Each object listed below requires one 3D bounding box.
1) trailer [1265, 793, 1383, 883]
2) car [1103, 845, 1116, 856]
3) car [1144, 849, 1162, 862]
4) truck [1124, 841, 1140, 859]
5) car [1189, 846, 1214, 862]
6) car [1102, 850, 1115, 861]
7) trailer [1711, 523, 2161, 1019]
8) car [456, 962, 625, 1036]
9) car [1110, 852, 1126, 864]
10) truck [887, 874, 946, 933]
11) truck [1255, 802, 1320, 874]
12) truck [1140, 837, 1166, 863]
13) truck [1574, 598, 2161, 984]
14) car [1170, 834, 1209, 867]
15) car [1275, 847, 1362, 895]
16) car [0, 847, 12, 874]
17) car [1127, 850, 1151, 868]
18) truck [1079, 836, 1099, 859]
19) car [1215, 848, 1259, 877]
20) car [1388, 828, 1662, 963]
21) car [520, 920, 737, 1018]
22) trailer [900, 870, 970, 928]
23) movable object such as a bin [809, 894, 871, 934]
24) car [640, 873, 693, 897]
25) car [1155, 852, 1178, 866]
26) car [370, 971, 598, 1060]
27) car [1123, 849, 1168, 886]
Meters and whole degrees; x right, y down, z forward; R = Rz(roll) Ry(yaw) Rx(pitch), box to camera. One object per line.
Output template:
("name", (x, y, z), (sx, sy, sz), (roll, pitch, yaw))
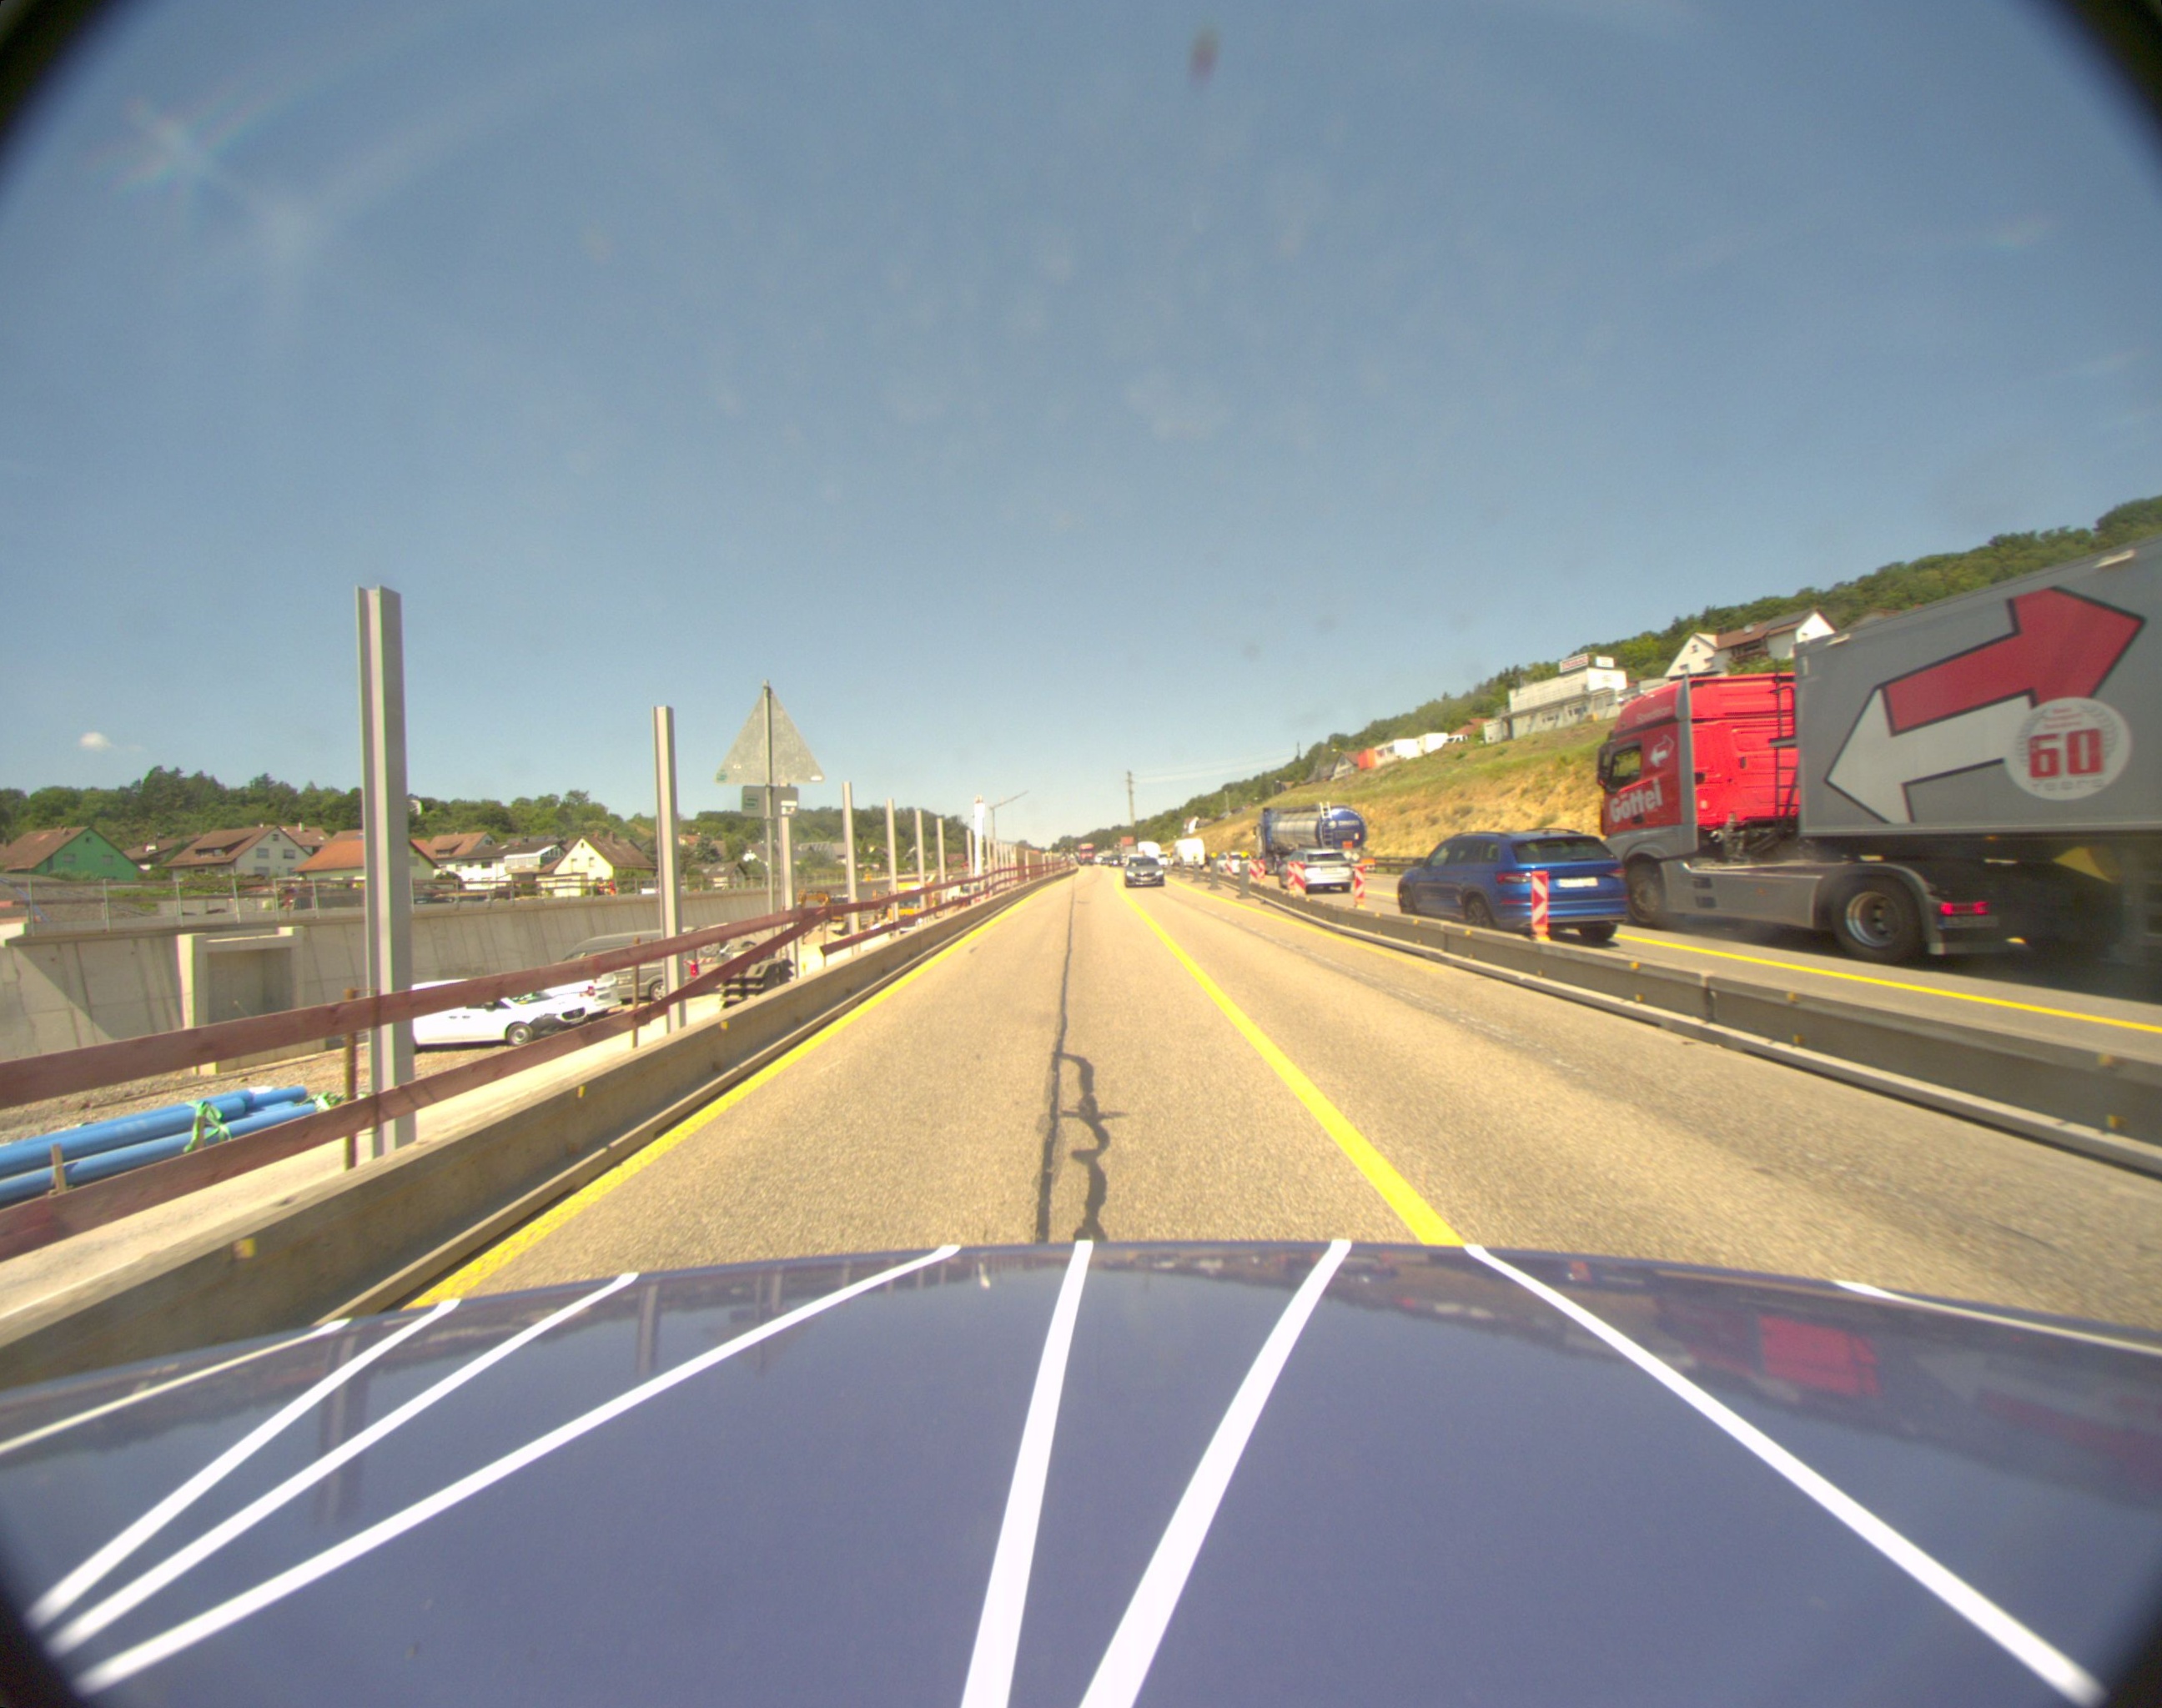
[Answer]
("trailer", (12.037, -0.780, 38.995), (2.606, 3.848, 11.273), (-3, 1, 2))
("car", (7.731, -1.014, 206.203), (2.926, 2.863, 6.696), (-3, 0, 0))
("car", (9.675, 0.227, 102.520), (1.838, 1.626, 4.389), (-3, 0, 0))
("truck", (11.858, -0.985, 177.043), (3.148, 4.023, 10.209), (-3, 1, 1))
("car", (12.523, -0.002, 79.279), (1.838, 1.482, 4.389), (-3, 0, 0))
("car", (4.560, 0.286, 126.658), (1.801, 1.542, 4.000), (-3, -1, -2))
("trailer", (9.539, -0.652, 4.197), (2.662, 3.794, 11.821), (-3, 1, 3))
("car", (-16.834, 4.502, 23.822), (3.871, 1.676, 1.692), (-4, 0, -5))
("car", (5.050, 0.554, 103.567), (1.801, 1.542, 4.000), (-3, -1, -2))
("truck", (-10.801, 3.195, 50.497), (2.504, 3.385, 5.435), (-3, 1, 1))
("truck", (12.210, -0.919, 45.262), (2.589, 3.954, 4.588), (-3, 1, 1))
("truck", (12.158, -0.700, 129.438), (3.115, 4.023, 13.155), (-3, 1, 1))
("truck", (9.813, -0.663, 10.404), (2.591, 3.806, 5.380), (-3, 1, 1))
("car", (9.247, -0.293, 65.413), (2.211, 2.614, 6.627), (-3, 0, 0))
("car", (8.010, 0.531, 26.041), (1.838, 1.421, 4.536), (-3, 0, 5))
("car", (-60.869, 0.419, 40.853), (1.545, 1.477, 3.606), (-3, 1, 1))
("car", (5.129, 0.451, 67.106), (1.838, 1.465, 4.389), (-3, 0, 2))
("truck", (1.443, -1.282, 143.524), (3.463, 4.023, 10.209), (-3, 1, 1))
("car", (8.923, 0.427, 43.833), (1.838, 1.510, 4.844), (-3, 0, 5))
("car", (6.609, 0.521, 12.042), (1.838, 1.654, 4.685), (-3, 0, 4))
("car", (-16.283, 4.103, 27.753), (6.308, 2.566, 2.053), (-6, -1, -13))
("trailer", (-10.721, 3.154, 57.256), (2.446, 3.333, 12.893), (-3, 1, 1))
("movable object such as a bin", (-19.395, 4.794, 61.376), (3.266, 2.769, 4.001), (-2, 1, 6))
("car", (-33.177, 2.450, 60.953), (1.658, 1.594, 4.605), (-3, 1, 0))
("car", (8.992, 0.465, 80.211), (1.838, 1.368, 4.389), (-3, 0, 0))
("car", (-16.244, 4.389, 20.847), (4.801, 1.758, 1.720), (-4, 0, 0))
("car", (3.040, 0.623, 36.533), (1.838, 1.587, 4.389), (-3, 0, 2))
